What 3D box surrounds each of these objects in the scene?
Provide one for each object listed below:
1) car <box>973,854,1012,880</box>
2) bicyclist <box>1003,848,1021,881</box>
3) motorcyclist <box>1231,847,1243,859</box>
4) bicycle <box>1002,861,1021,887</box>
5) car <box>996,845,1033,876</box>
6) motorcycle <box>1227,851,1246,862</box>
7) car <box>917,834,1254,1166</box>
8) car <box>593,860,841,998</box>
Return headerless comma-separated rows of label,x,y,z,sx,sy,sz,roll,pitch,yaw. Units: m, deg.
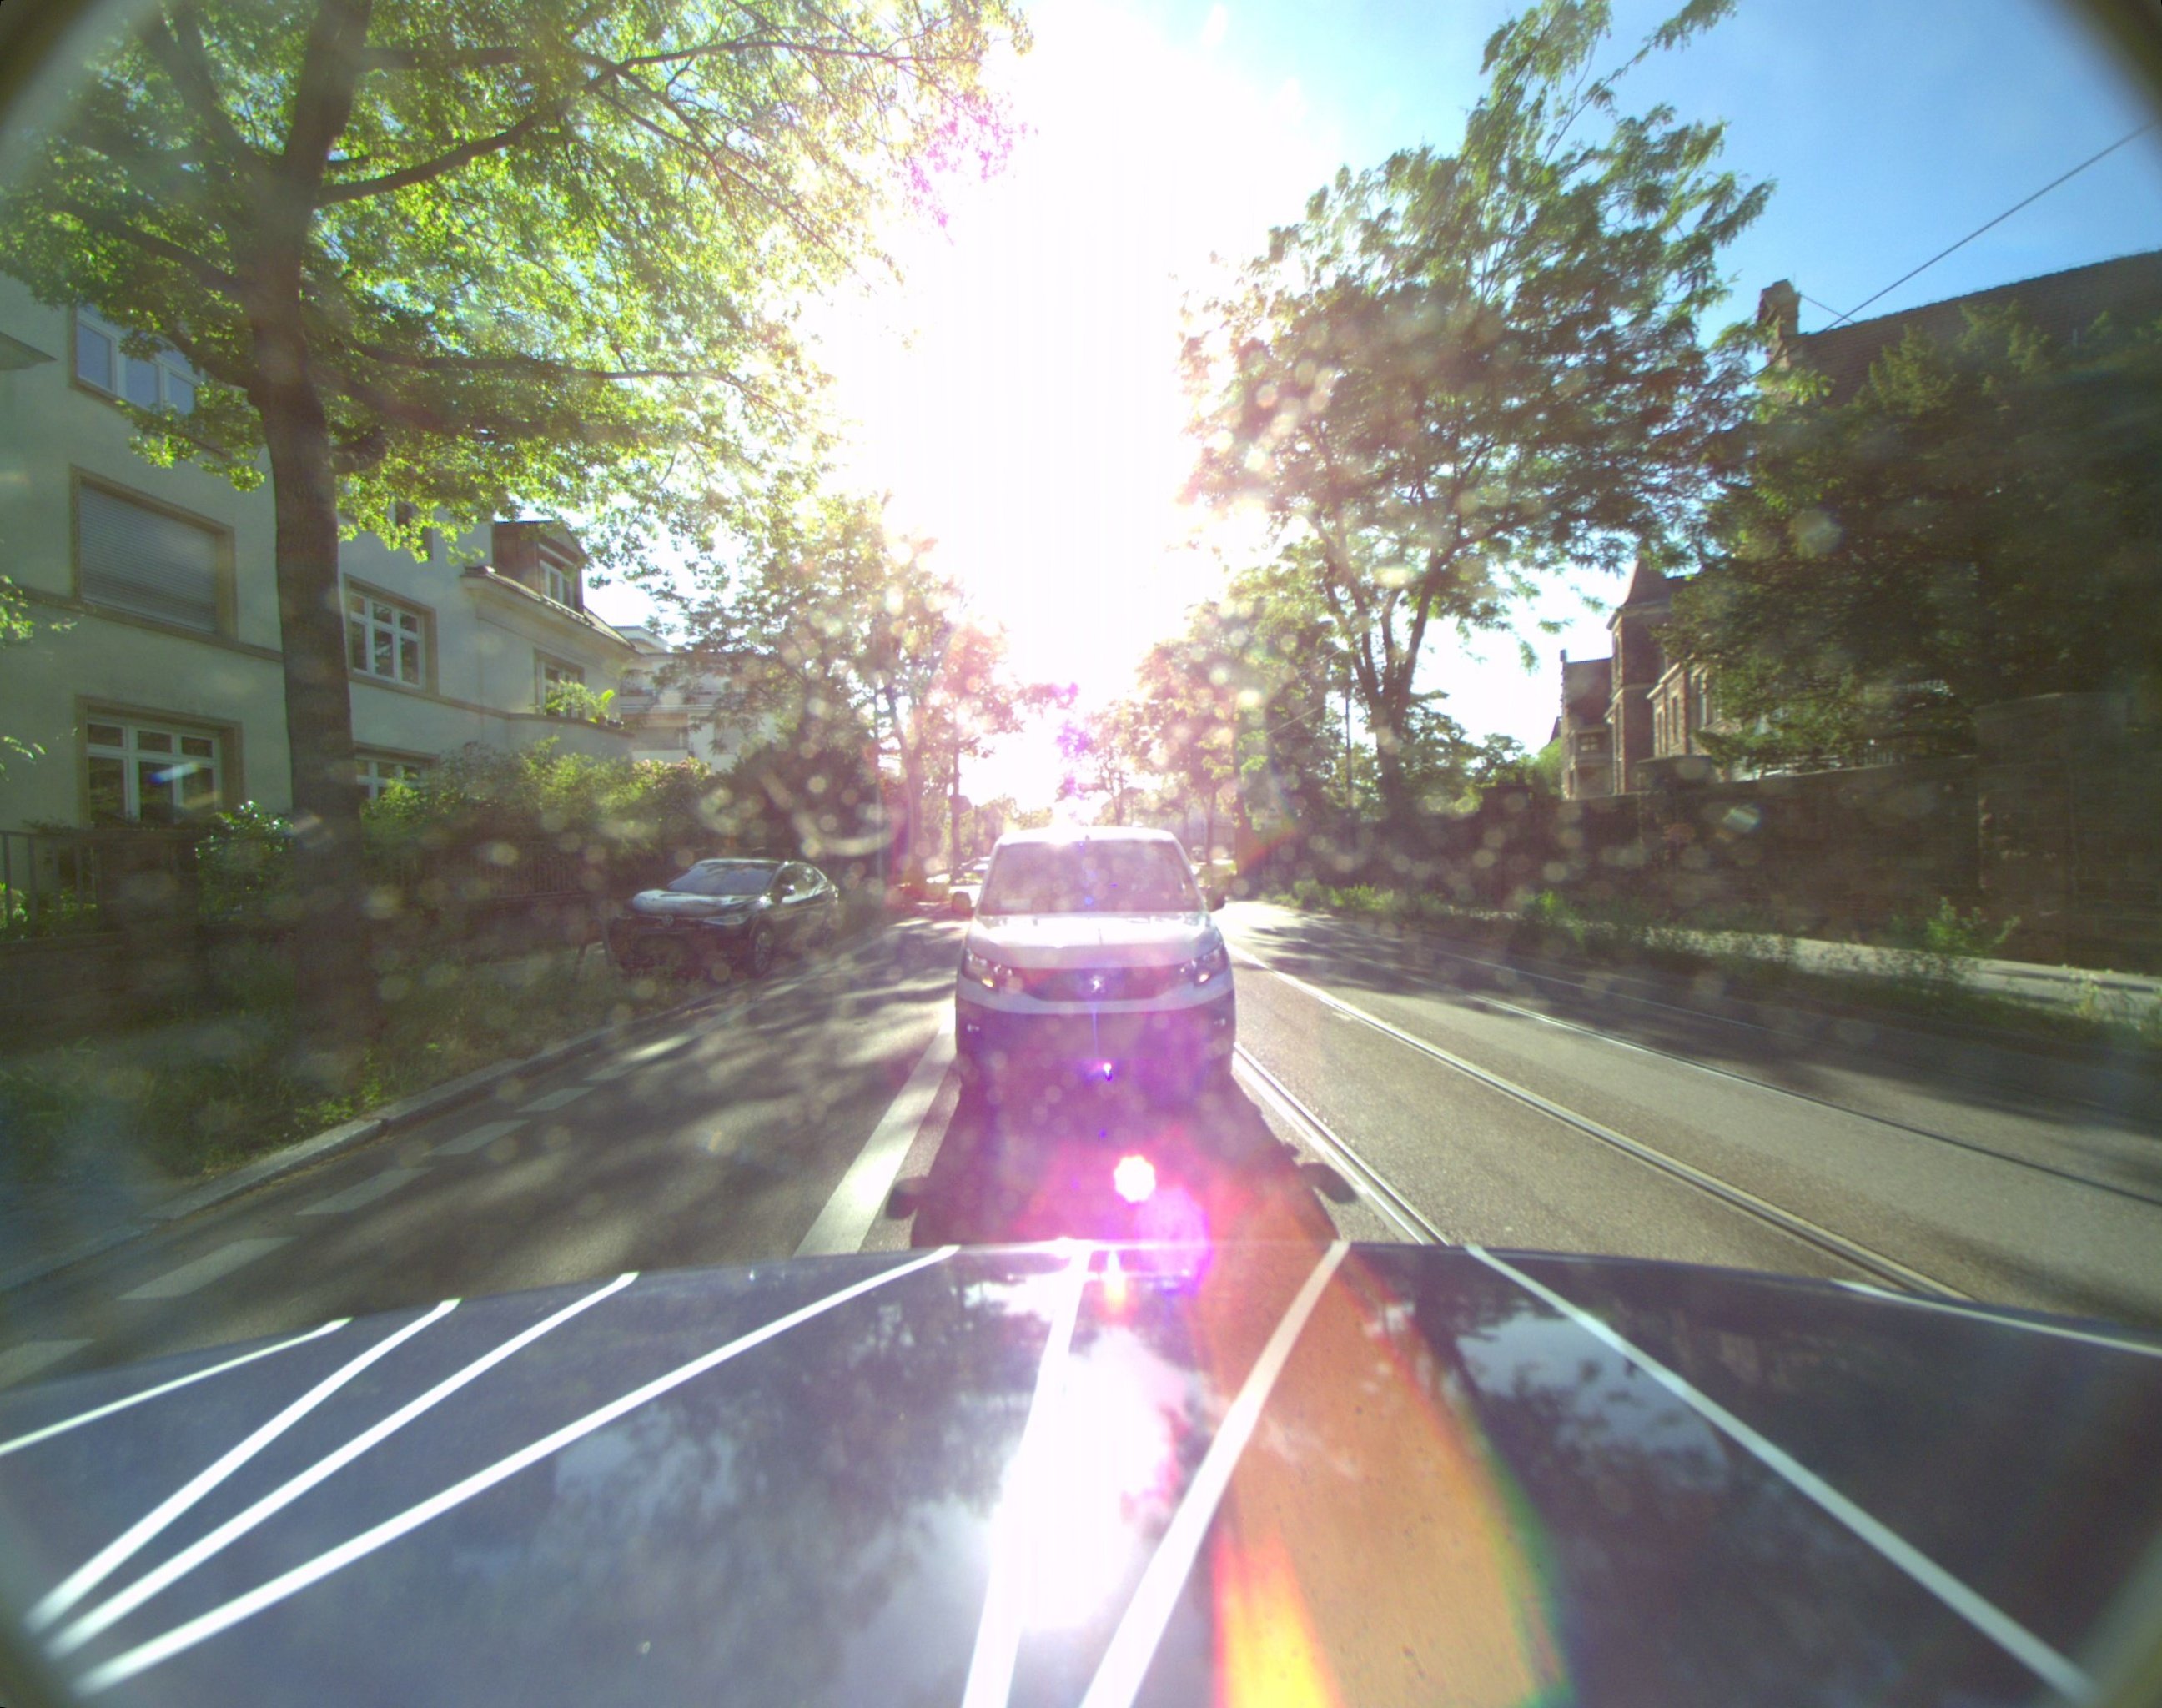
car,-5.259,0.757,45.461,1.787,1.443,4.000,-2,0,1
bicyclist,-3.188,0.478,35.027,0.645,1.479,1.115,-2,1,1
motorcyclist,17.797,-0.142,86.733,0.910,1.375,0.889,-2,1,-44
bicycle,-3.171,0.923,35.000,0.644,1.137,1.902,-1,0,1
car,-4.508,0.435,51.927,1.998,2.002,4.583,-2,0,1
motorcycle,17.771,0.284,86.689,0.912,1.146,2.433,-1,1,45
car,0.044,0.790,6.534,1.793,1.770,4.786,-2,0,0
car,-5.163,0.950,11.465,1.743,1.597,4.091,2,0,0
